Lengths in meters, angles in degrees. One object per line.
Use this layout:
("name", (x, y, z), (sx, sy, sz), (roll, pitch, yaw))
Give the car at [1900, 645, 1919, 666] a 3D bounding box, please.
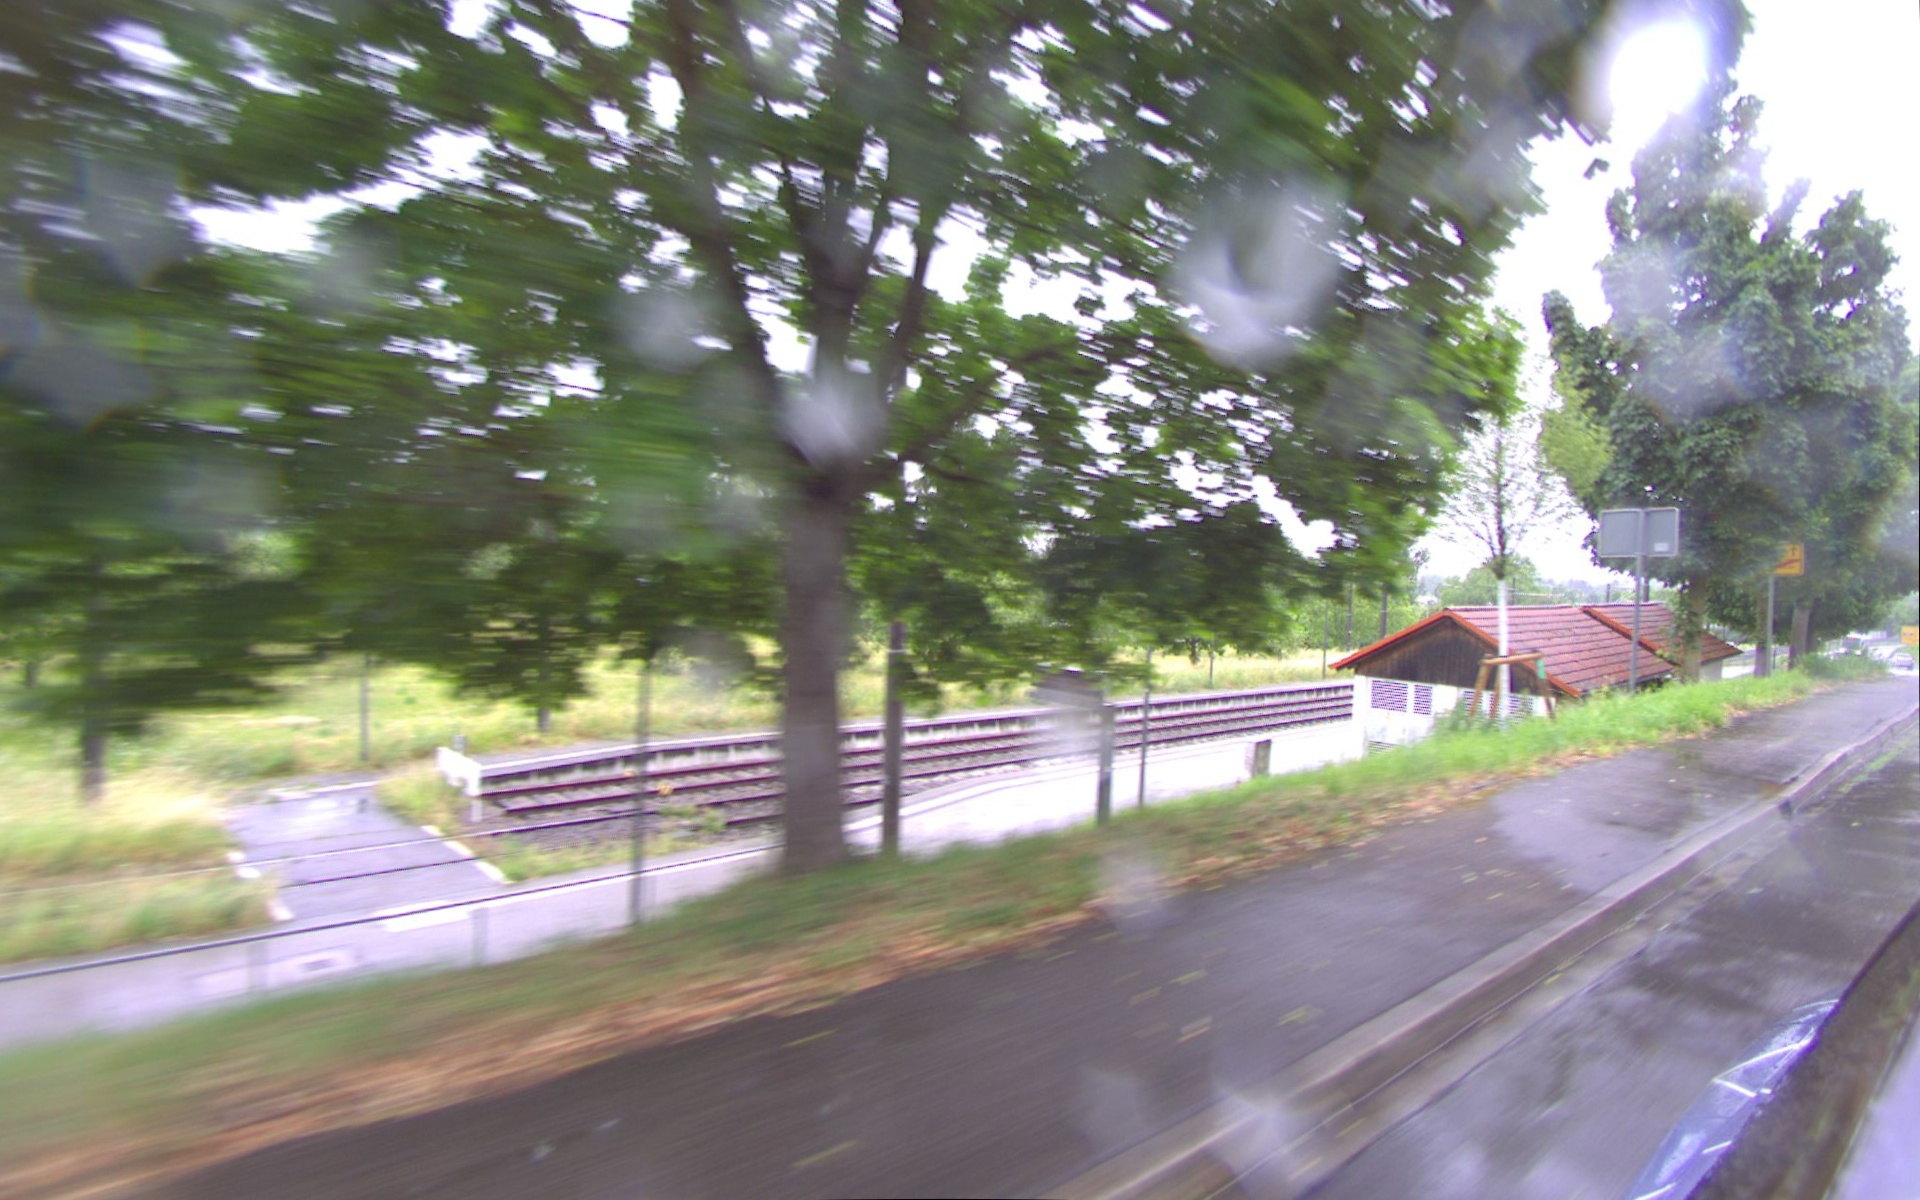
("car", (102.214, 5.927, 108.220), (1.989, 2.039, 3.945), (3, 1, 37))
